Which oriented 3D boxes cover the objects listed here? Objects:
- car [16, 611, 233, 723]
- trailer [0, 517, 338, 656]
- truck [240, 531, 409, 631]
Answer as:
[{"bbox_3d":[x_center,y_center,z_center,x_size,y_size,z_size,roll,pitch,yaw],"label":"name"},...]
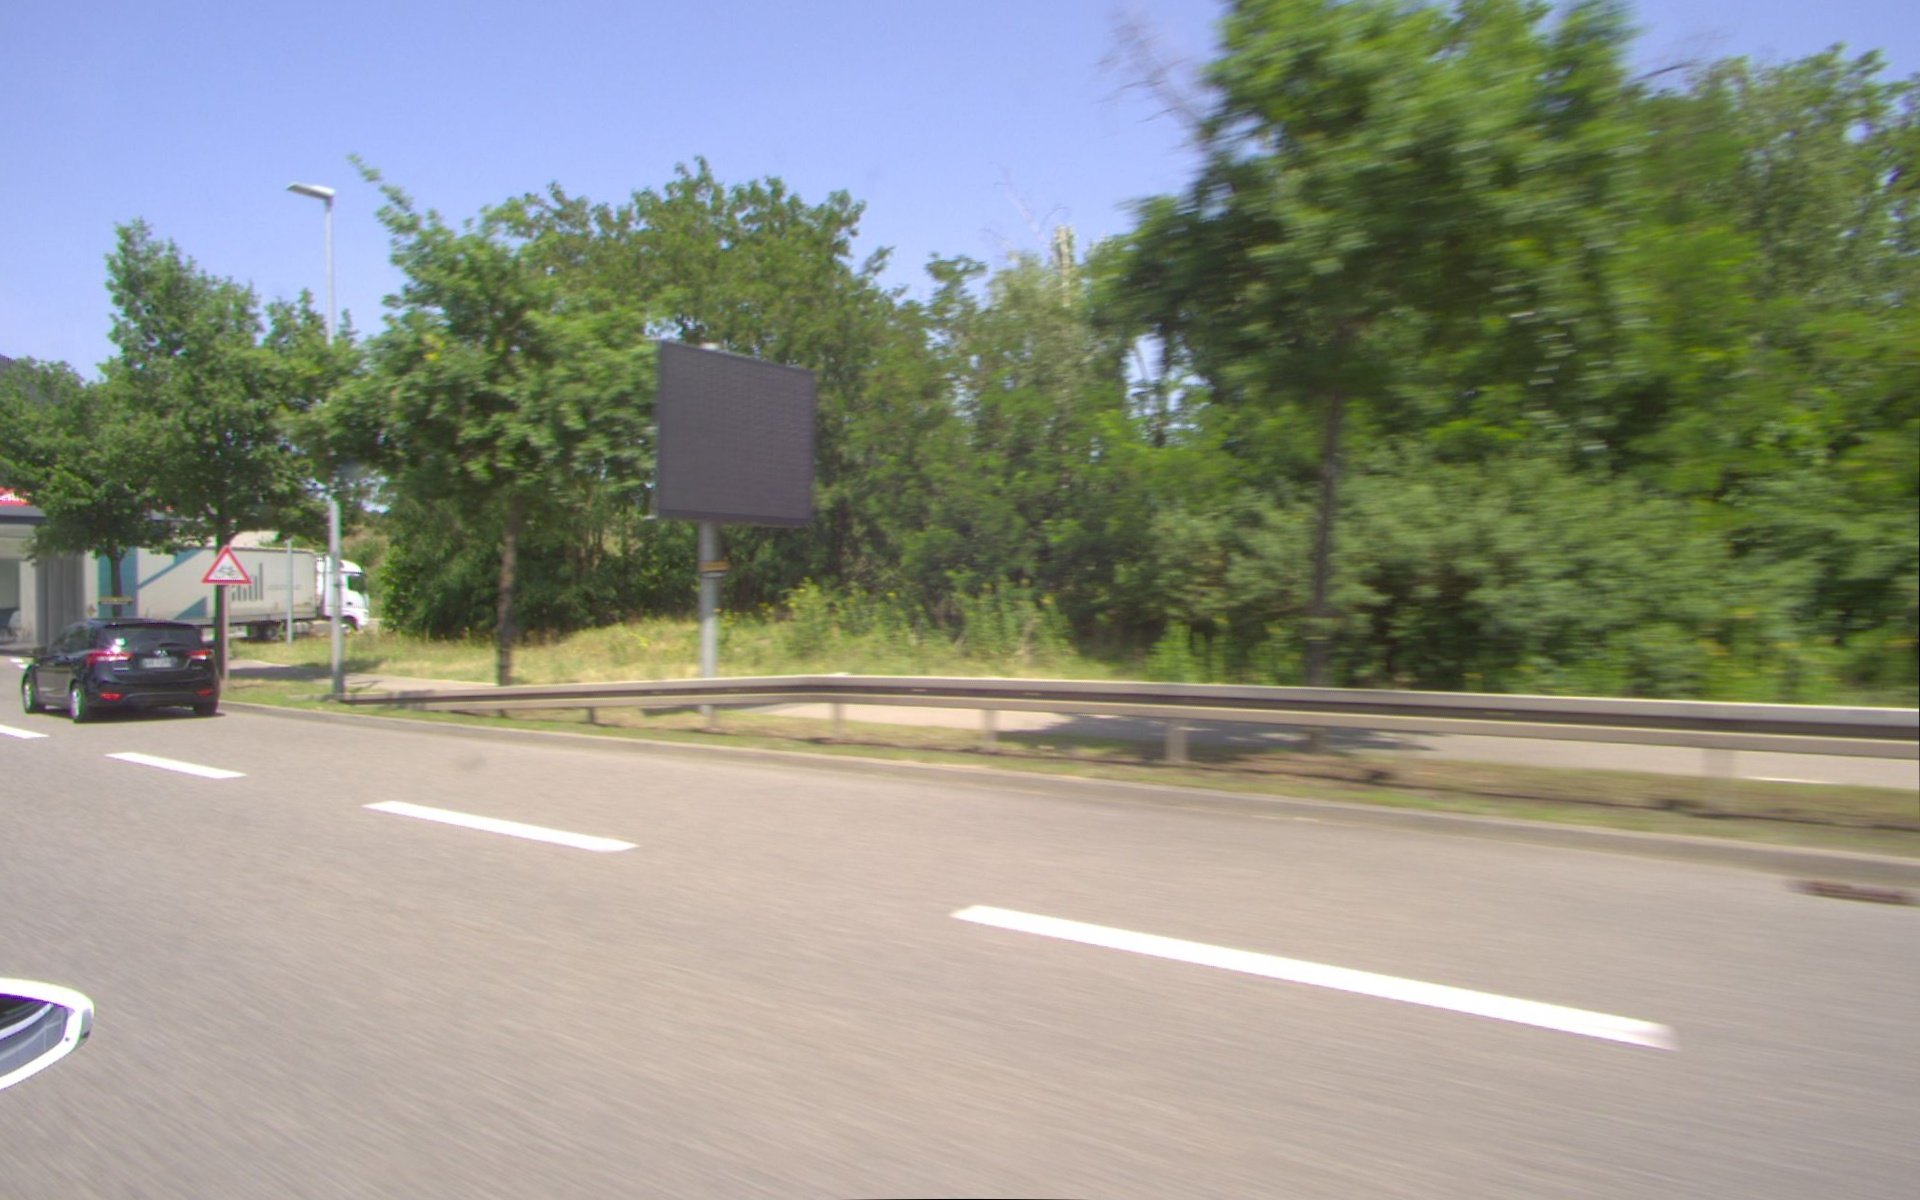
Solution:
[{"bbox_3d":[-13.770,0.997,16.447,4.022,1.620,1.762,0,0,35],"label":"car"},{"bbox_3d":[-30.445,-0.621,39.651,3.028,4.428,14.764,-1,2,-3],"label":"trailer"},{"bbox_3d":[-29.910,-0.907,47.461,3.031,4.429,6.064,0,2,19],"label":"truck"}]
